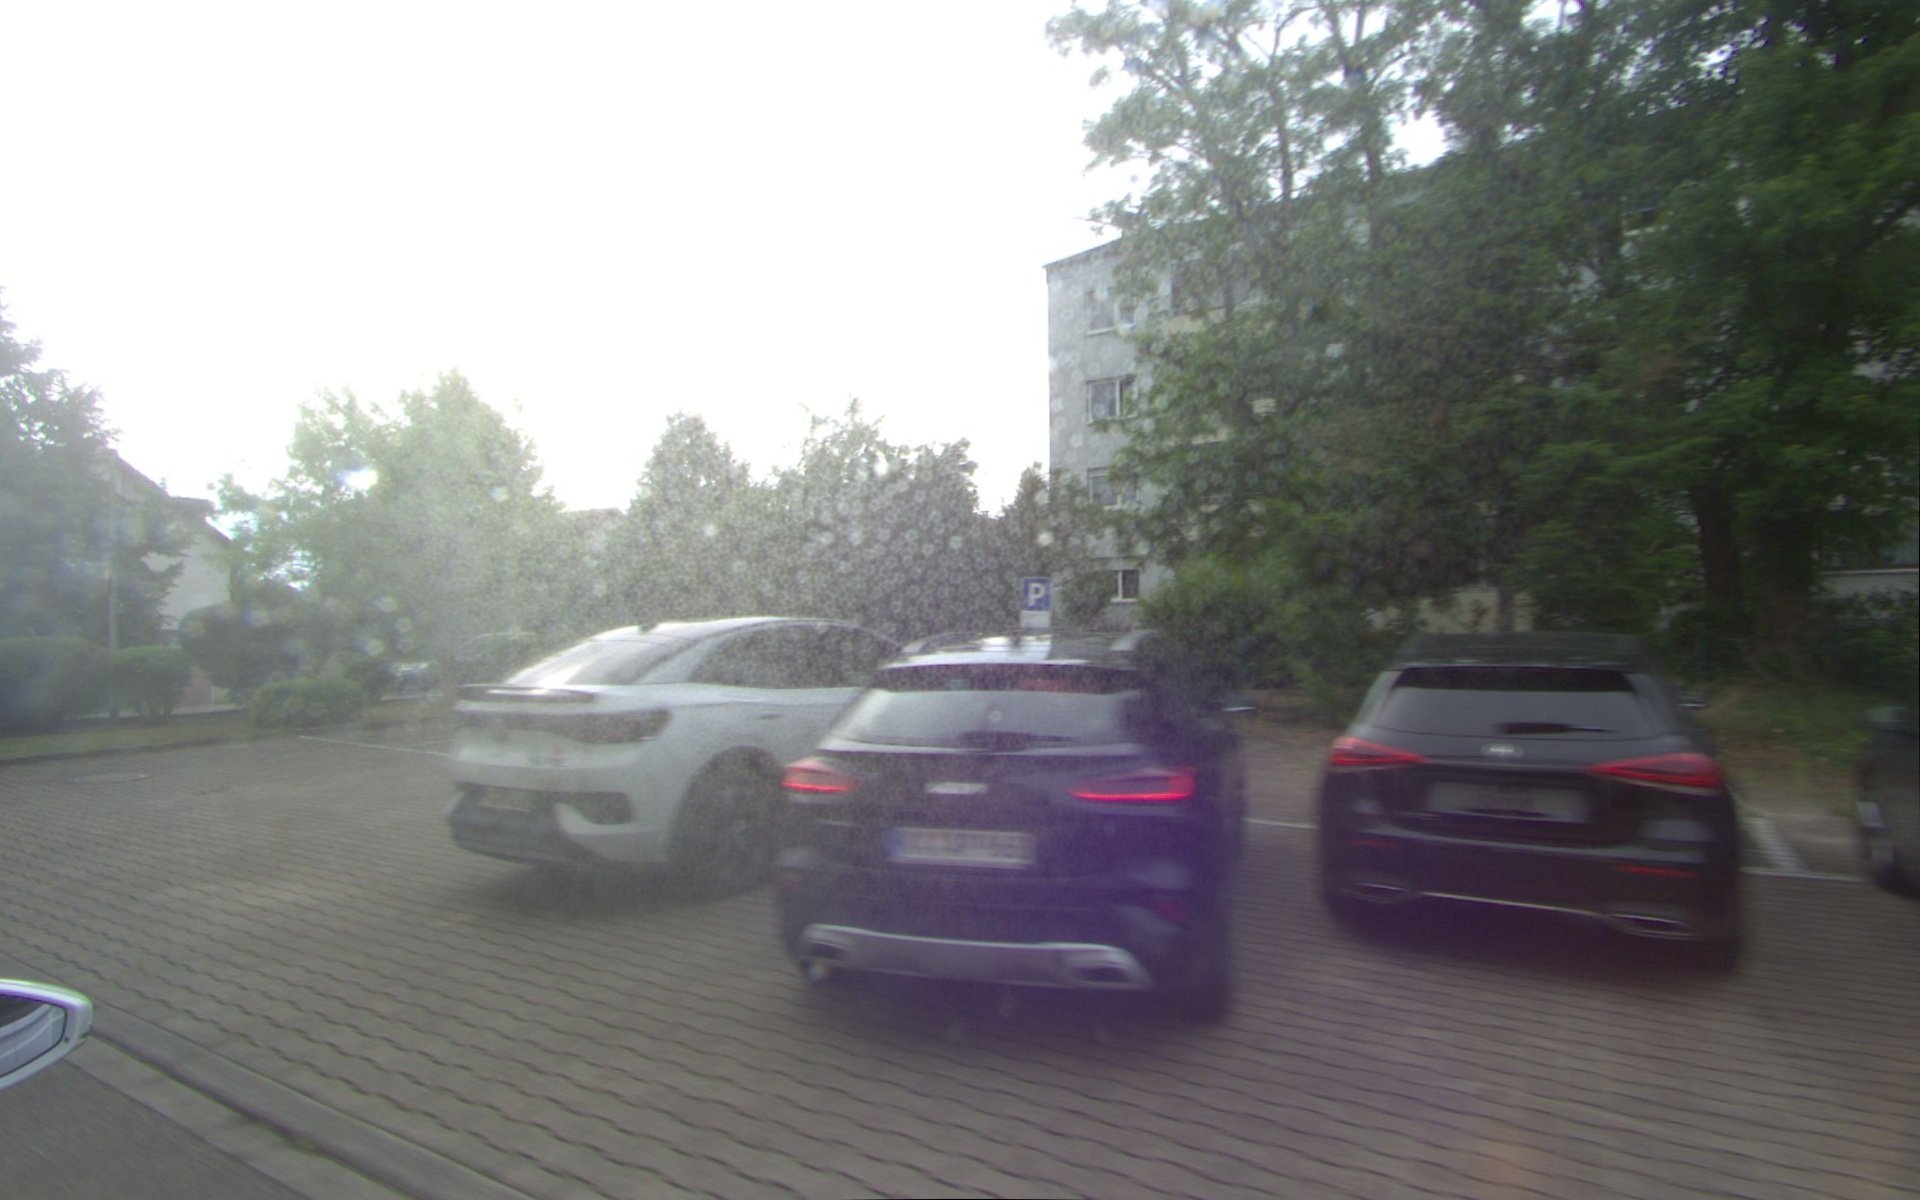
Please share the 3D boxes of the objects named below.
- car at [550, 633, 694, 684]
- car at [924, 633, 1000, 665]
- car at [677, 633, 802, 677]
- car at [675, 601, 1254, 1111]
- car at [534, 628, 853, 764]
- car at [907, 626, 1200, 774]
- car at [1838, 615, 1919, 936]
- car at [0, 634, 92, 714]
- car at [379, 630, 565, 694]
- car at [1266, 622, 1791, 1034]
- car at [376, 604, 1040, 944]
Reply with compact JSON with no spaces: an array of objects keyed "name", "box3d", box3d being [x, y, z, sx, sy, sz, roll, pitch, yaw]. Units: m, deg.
[{"name":"car","box3d":[-11.081,1.896,33.064,1.741,1.496,4.278,-4,-3,36]},{"name":"car","box3d":[0.120,2.378,49.115,1.735,1.443,3.976,-4,-3,35]},{"name":"car","box3d":[-8.062,2.009,37.037,1.760,1.446,4.449,-4,-3,36]},{"name":"car","box3d":[0.488,0.834,5.368,1.964,1.572,3.992,-1,0,18]},{"name":"car","box3d":[-3.434,1.153,13.579,1.998,1.530,3.891,-1,-1,31]},{"name":"car","box3d":[1.270,1.020,11.774,1.943,1.398,3.891,-1,-1,31]},{"name":"car","box3d":[4.762,0.782,3.663,1.589,1.467,4.121,-1,-1,31]},{"name":"car","box3d":[-19.861,1.488,19.542,1.725,1.550,4.169,-4,-3,36]},{"name":"car","box3d":[-13.854,1.731,28.682,1.740,1.613,4.527,-4,-3,34]},{"name":"car","box3d":[3.332,0.880,5.812,1.889,1.467,3.986,-1,-1,34]},{"name":"car","box3d":[-1.366,0.882,7.197,1.960,1.609,4.527,-1,-1,33]}]
